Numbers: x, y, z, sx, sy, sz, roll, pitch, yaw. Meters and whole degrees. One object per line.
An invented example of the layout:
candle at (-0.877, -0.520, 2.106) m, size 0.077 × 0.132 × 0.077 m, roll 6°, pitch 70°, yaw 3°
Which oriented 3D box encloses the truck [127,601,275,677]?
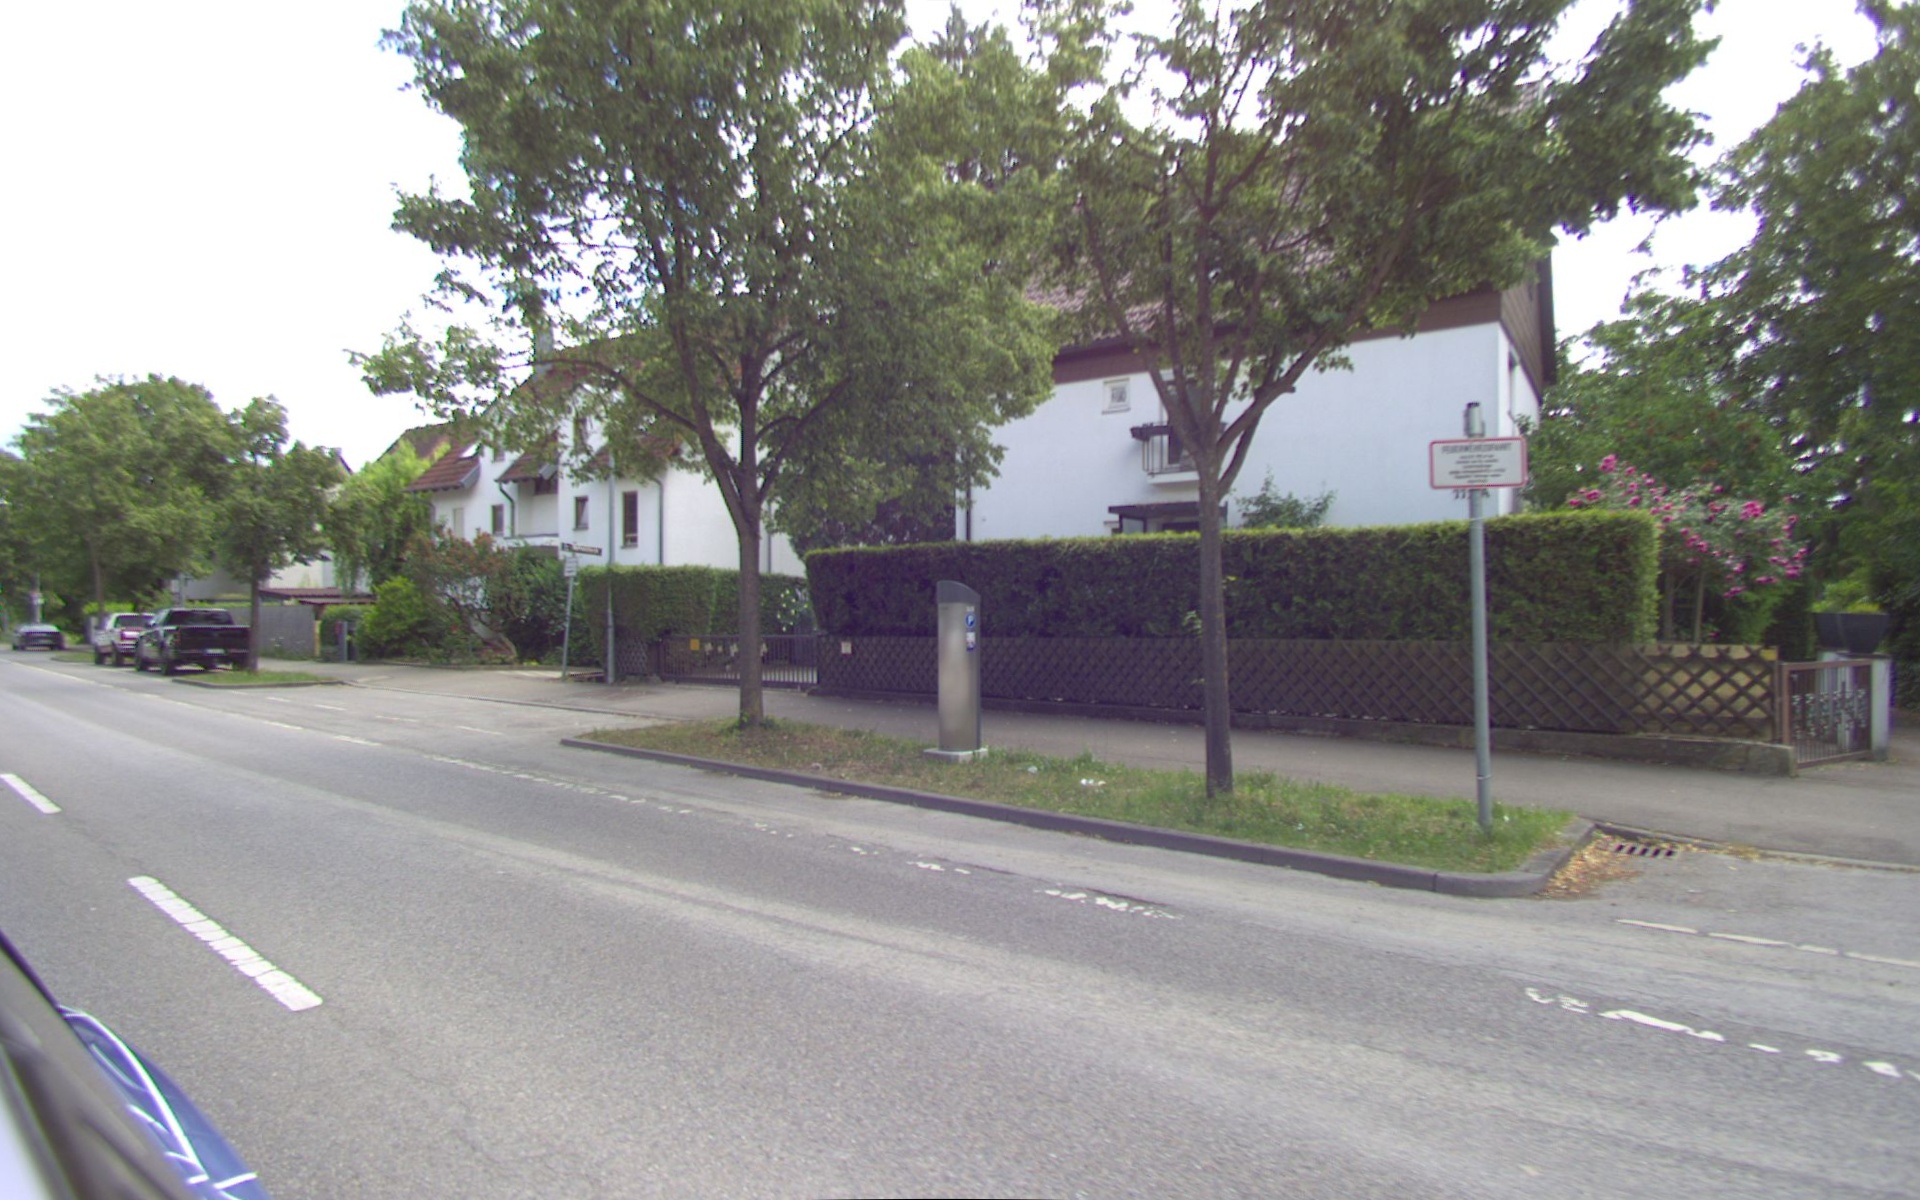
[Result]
truck at (-22.987, 1.130, 30.553) m, size 5.992 × 2.059 × 2.397 m, roll -1°, pitch -1°, yaw 41°

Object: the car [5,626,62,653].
car at (-50.195, 2.116, 54.803) m, size 4.925 × 1.419 × 1.727 m, roll -1°, pitch -3°, yaw 41°

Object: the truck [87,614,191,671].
truck at (-29.013, 1.463, 35.690) m, size 5.663 × 1.882 × 1.946 m, roll -1°, pitch -3°, yaw 42°
